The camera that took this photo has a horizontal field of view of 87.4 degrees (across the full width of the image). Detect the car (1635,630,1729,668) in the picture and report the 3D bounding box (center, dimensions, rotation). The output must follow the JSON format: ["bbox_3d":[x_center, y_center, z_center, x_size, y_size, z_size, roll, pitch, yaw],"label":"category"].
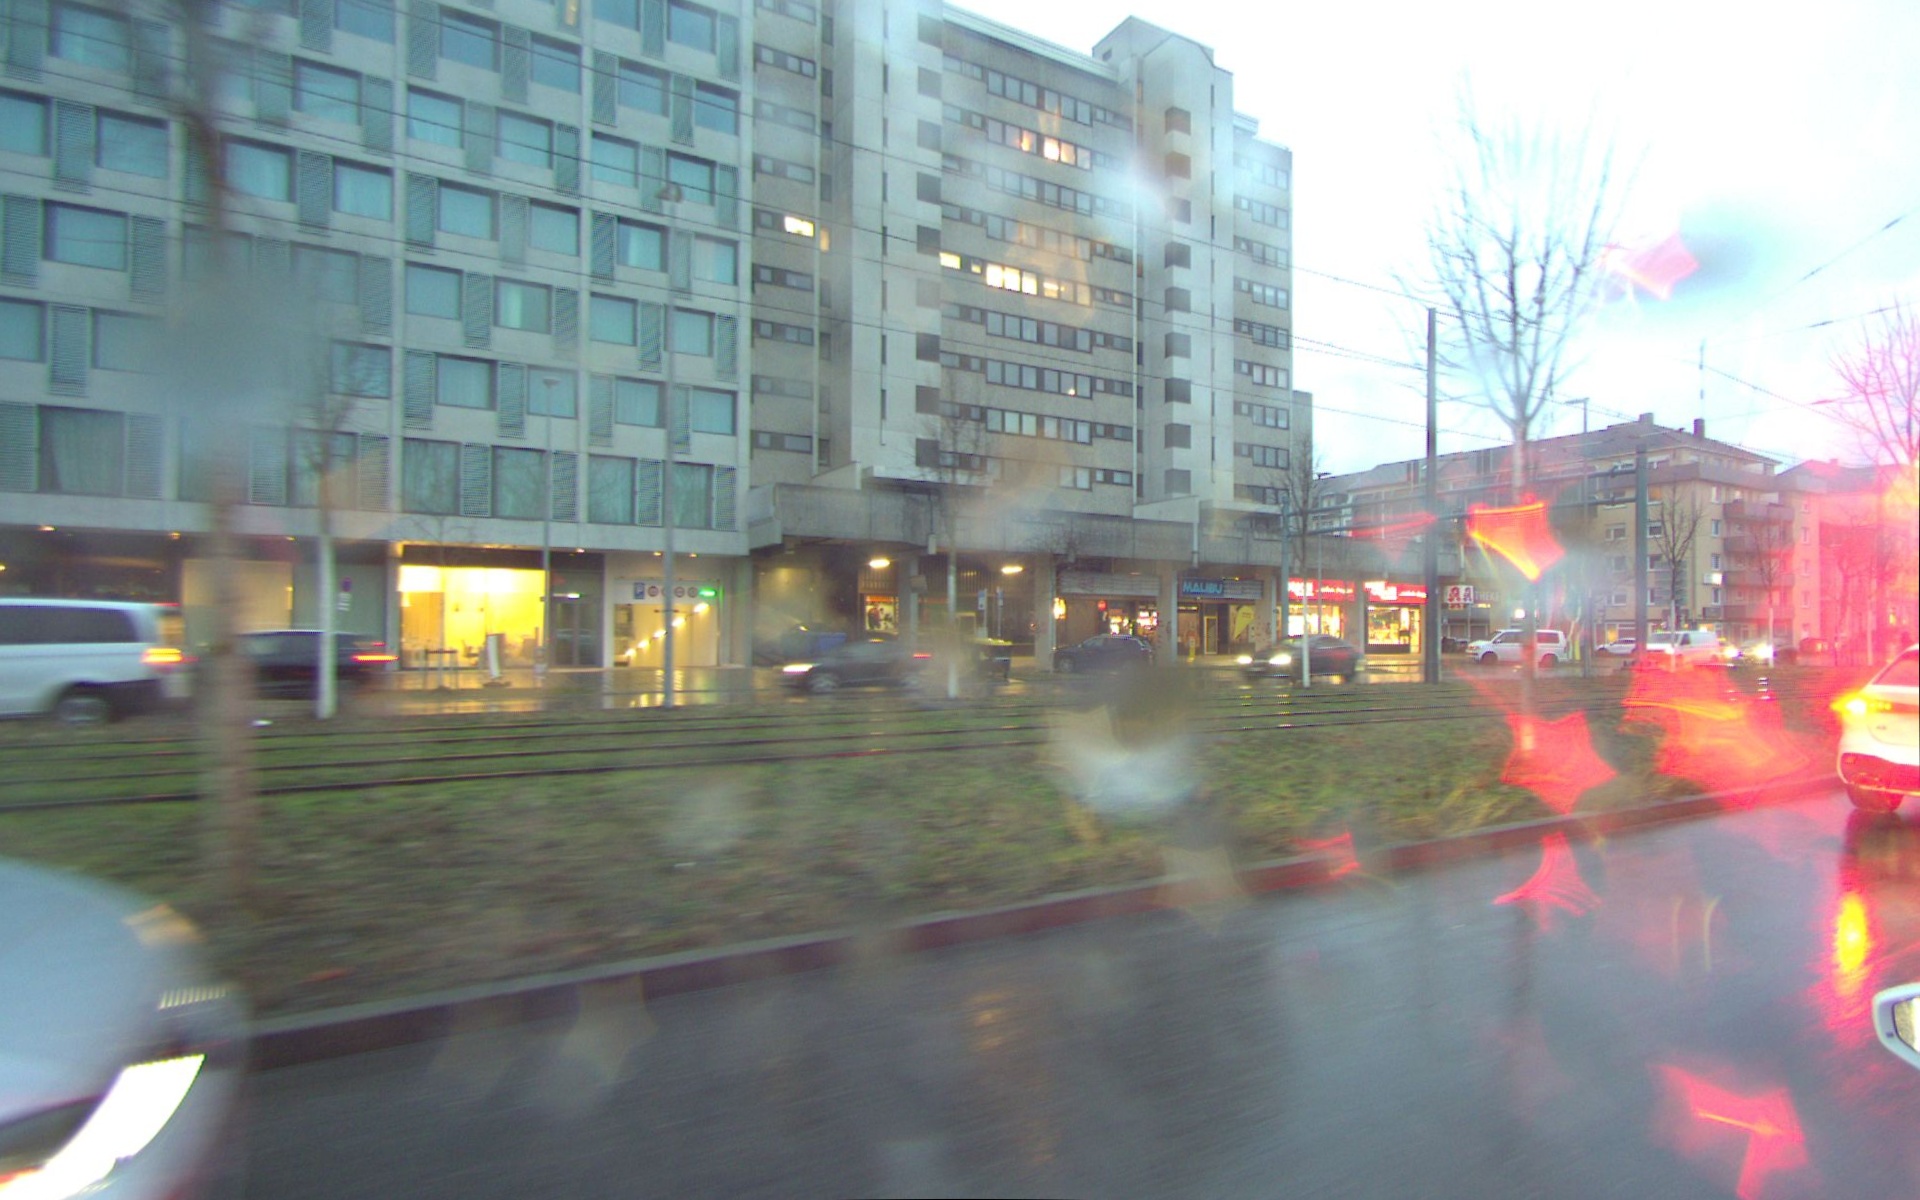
[{"bbox_3d":[38.303,2.586,53.234,5.098,1.937,1.986,1,-2,-28],"label":"car"}]

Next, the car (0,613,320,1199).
[{"bbox_3d":[-3.031,0.694,1.005,3.936,1.389,1.754,2,-1,-31],"label":"car"}]

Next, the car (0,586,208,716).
[{"bbox_3d":[-13.732,0.691,13.950,5.061,1.741,1.886,1,-2,-32],"label":"car"}]

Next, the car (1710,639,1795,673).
[{"bbox_3d":[39.975,2.784,50.636,4.528,1.655,1.886,1,-2,-31],"label":"car"}]

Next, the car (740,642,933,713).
[{"bbox_3d":[-3.299,2.028,27.202,4.858,1.741,1.887,1,-2,-30],"label":"car"}]

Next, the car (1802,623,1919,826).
[{"bbox_3d":[8.878,0.952,8.111,4.562,1.424,1.836,2,-1,-32],"label":"car"}]

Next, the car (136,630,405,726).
[{"bbox_3d":[-14.282,1.563,21.179,4.477,1.837,1.887,1,-2,-30],"label":"car"}]

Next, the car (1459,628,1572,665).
[{"bbox_3d":[30.200,2.520,54.789,5.059,1.937,2.001,0,-2,15],"label":"car"}]

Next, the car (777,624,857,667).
[{"bbox_3d":[-6.057,1.871,42.100,1.709,1.718,4.336,1,-2,-32],"label":"car"}]

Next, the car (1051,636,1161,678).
[{"bbox_3d":[5.859,2.252,40.354,3.924,1.405,1.935,2,0,25],"label":"car"}]

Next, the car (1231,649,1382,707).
[{"bbox_3d":[11.444,2.503,33.109,4.852,1.741,1.890,1,-2,-26],"label":"car"}]
